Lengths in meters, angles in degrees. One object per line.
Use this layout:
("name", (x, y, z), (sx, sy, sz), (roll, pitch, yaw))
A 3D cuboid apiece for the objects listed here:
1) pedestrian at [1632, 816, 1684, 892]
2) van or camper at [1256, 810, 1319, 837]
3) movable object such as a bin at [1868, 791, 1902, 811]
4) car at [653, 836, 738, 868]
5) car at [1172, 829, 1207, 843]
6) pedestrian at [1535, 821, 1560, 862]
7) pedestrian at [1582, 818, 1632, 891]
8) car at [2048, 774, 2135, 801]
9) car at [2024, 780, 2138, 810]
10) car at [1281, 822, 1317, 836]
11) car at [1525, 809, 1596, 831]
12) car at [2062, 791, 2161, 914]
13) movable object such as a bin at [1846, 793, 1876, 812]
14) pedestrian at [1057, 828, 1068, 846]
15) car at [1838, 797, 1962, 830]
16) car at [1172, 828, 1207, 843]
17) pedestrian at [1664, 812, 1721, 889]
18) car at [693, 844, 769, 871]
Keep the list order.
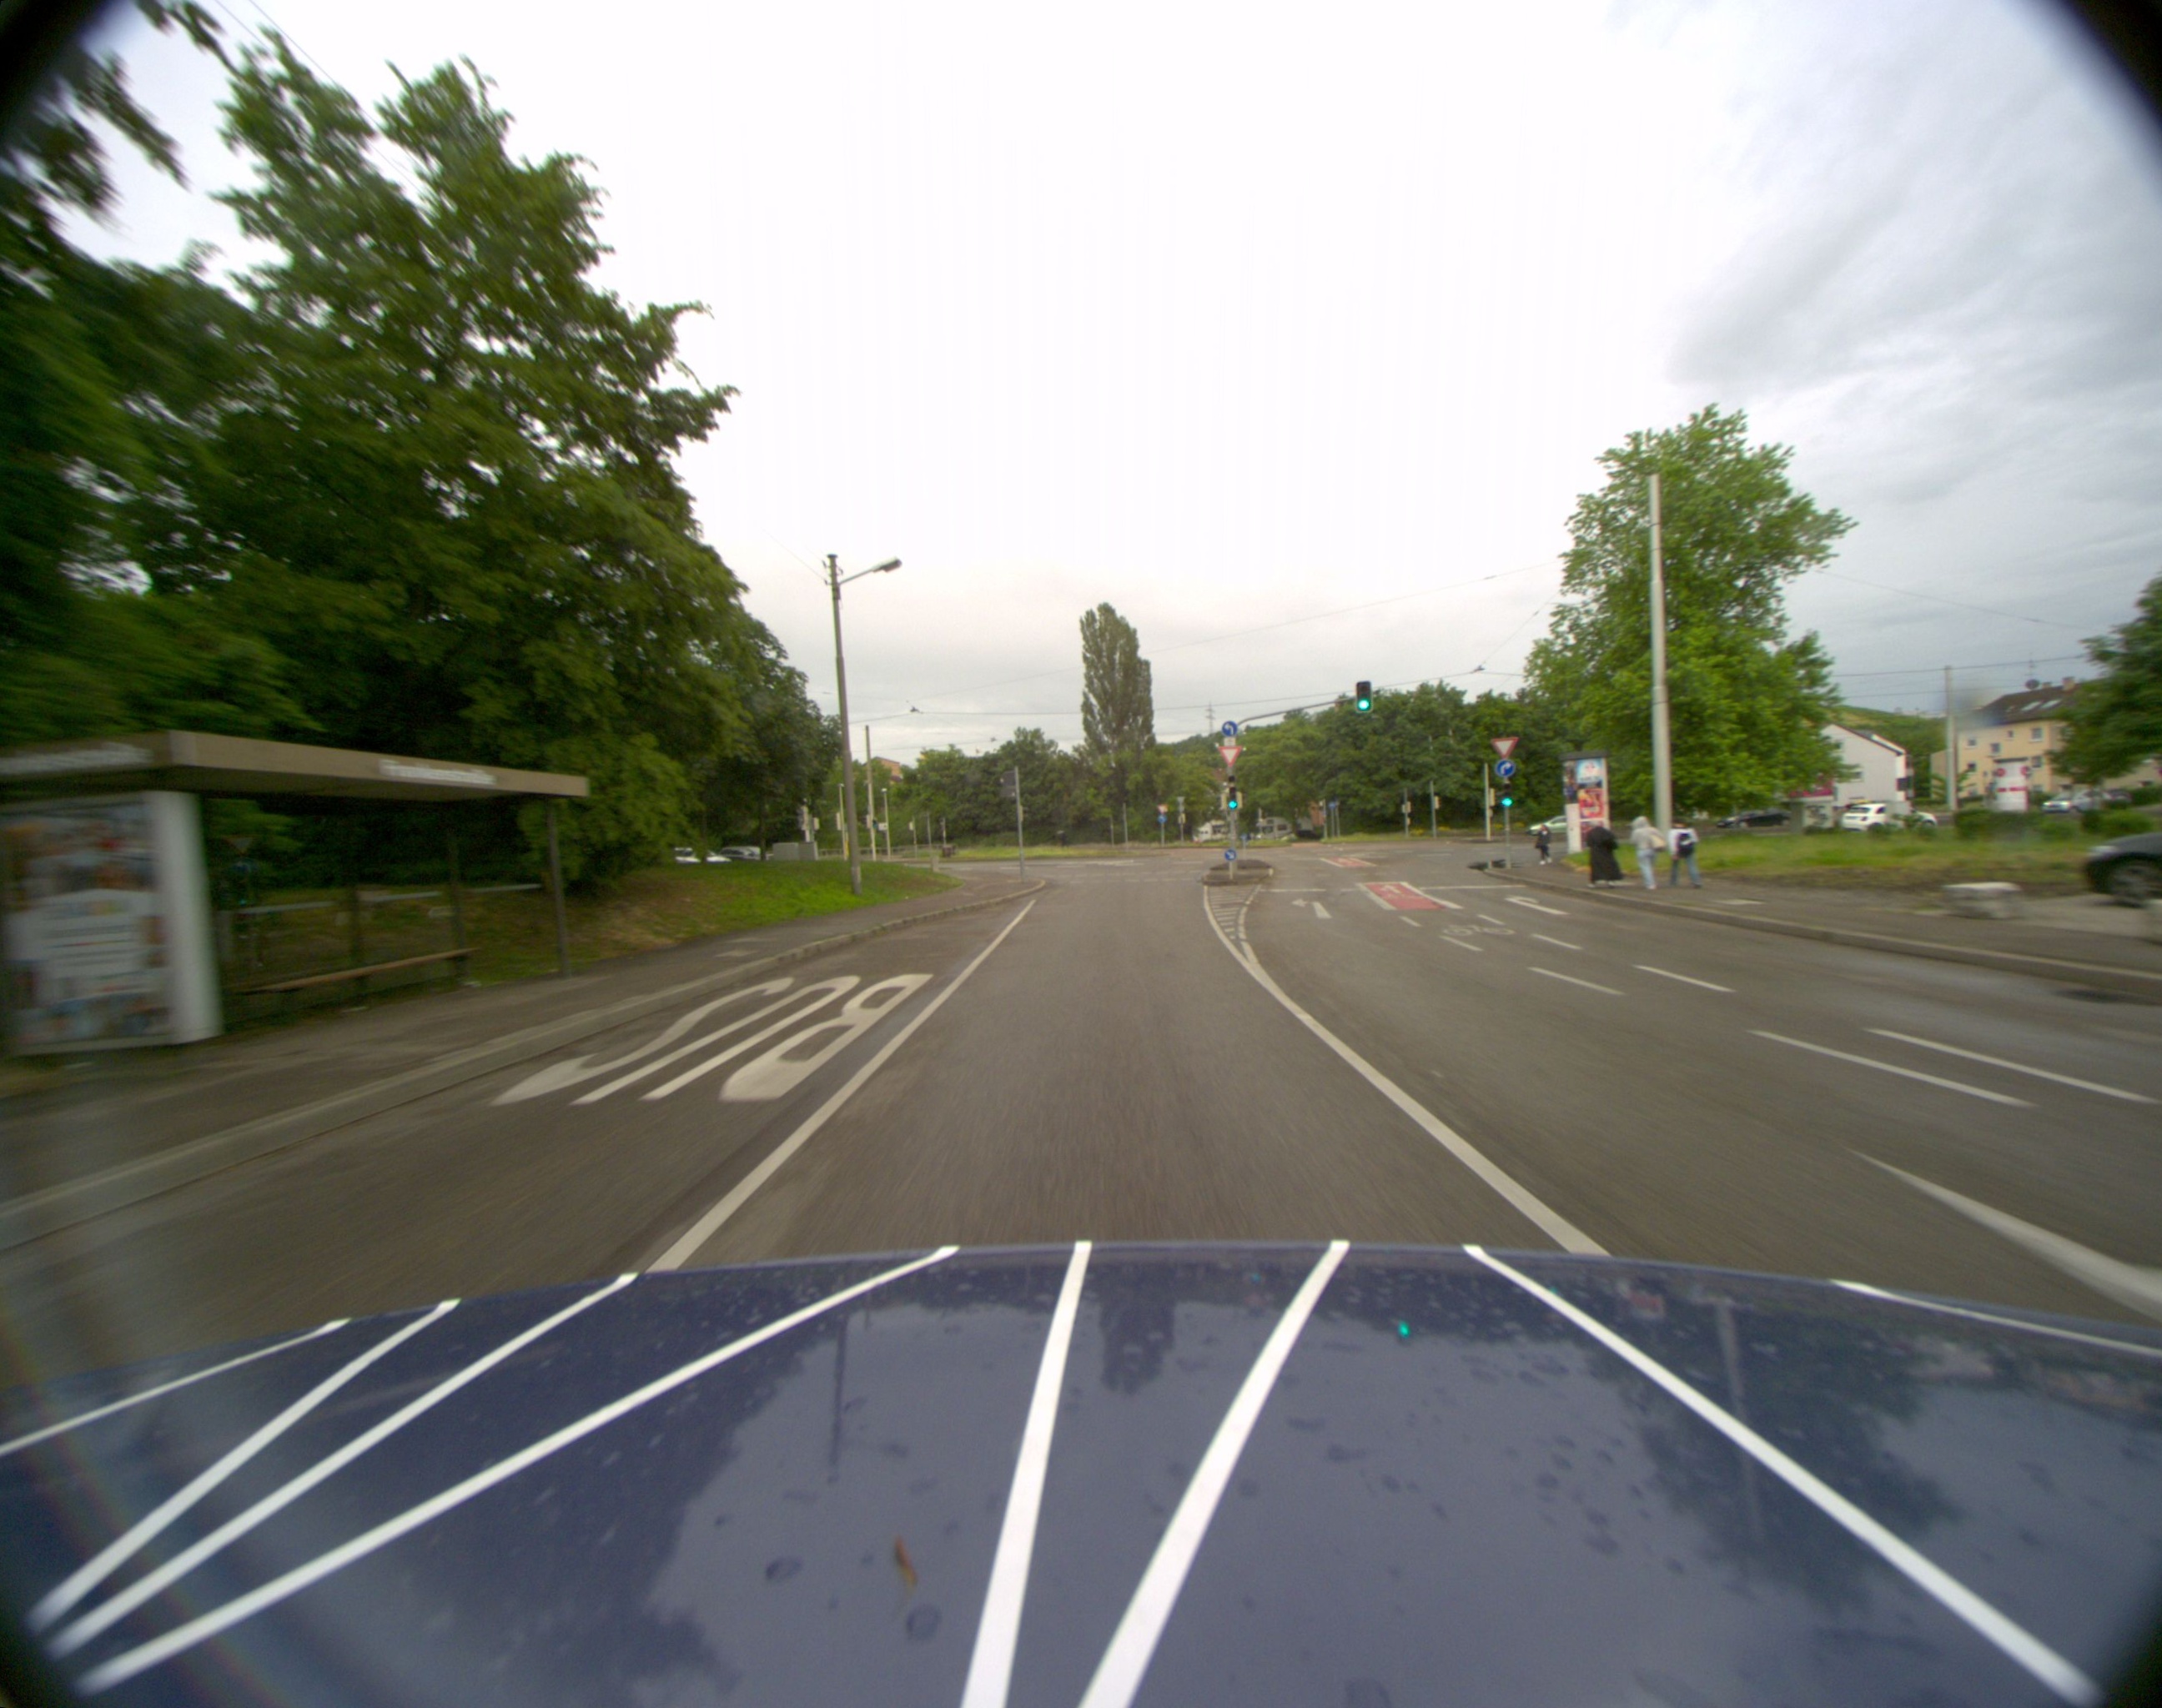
("pedestrian", (12.547, -0.008, 16.550), (0.606, 1.593, 0.678), (-4, 1, 15))
("van or camper", (22.944, -3.401, 84.776), (6.424, 2.739, 2.431), (-2, 2, 6))
("movable object such as a bin", (65.510, -4.291, 61.932), (1.298, 1.410, 1.316), (-5, 1, 7))
("car", (-21.902, -0.108, 43.235), (3.858, 1.546, 1.724), (-2, 5, 6))
("car", (12.762, -2.130, 89.423), (3.996, 1.346, 1.678), (-3, 2, 3))
("pedestrian", (18.053, -0.490, 29.430), (0.591, 1.523, 0.669), (-4, 1, 19))
("pedestrian", (12.069, 0.011, 17.447), (0.657, 1.593, 0.678), (-4, 1, 15))
("car", (82.130, -5.380, 61.829), (1.876, 1.645, 4.292), (-5, -1, 14))
("car", (63.473, -3.747, 48.312), (4.195, 1.416, 1.890), (-5, 0, 9))
("car", (23.483, -2.704, 81.865), (3.469, 1.346, 1.678), (-3, 2, 3))
("car", (36.771, -2.597, 58.326), (4.195, 1.441, 1.890), (-3, 2, 9))
("car", (13.921, -0.030, 7.993), (1.751, 1.441, 4.234), (-5, 1, 2))
("movable object such as a bin", (63.834, -4.231, 62.174), (1.133, 1.410, 1.188), (-5, 1, 7))
("pedestrian", (-1.696, -1.605, 69.957), (0.682, 1.597, 0.810), (-5, 1, 10))
("car", (41.020, -2.025, 38.137), (3.994, 1.475, 1.693), (-2, 3, 10))
("car", (13.079, -2.236, 91.592), (3.996, 1.540, 1.678), (-3, 2, 3))
("pedestrian", (13.213, -0.071, 16.426), (0.657, 1.593, 0.678), (-4, 1, 15))
("car", (-21.270, 0.198, 46.237), (3.787, 1.394, 1.606), (-2, 4, 7))
